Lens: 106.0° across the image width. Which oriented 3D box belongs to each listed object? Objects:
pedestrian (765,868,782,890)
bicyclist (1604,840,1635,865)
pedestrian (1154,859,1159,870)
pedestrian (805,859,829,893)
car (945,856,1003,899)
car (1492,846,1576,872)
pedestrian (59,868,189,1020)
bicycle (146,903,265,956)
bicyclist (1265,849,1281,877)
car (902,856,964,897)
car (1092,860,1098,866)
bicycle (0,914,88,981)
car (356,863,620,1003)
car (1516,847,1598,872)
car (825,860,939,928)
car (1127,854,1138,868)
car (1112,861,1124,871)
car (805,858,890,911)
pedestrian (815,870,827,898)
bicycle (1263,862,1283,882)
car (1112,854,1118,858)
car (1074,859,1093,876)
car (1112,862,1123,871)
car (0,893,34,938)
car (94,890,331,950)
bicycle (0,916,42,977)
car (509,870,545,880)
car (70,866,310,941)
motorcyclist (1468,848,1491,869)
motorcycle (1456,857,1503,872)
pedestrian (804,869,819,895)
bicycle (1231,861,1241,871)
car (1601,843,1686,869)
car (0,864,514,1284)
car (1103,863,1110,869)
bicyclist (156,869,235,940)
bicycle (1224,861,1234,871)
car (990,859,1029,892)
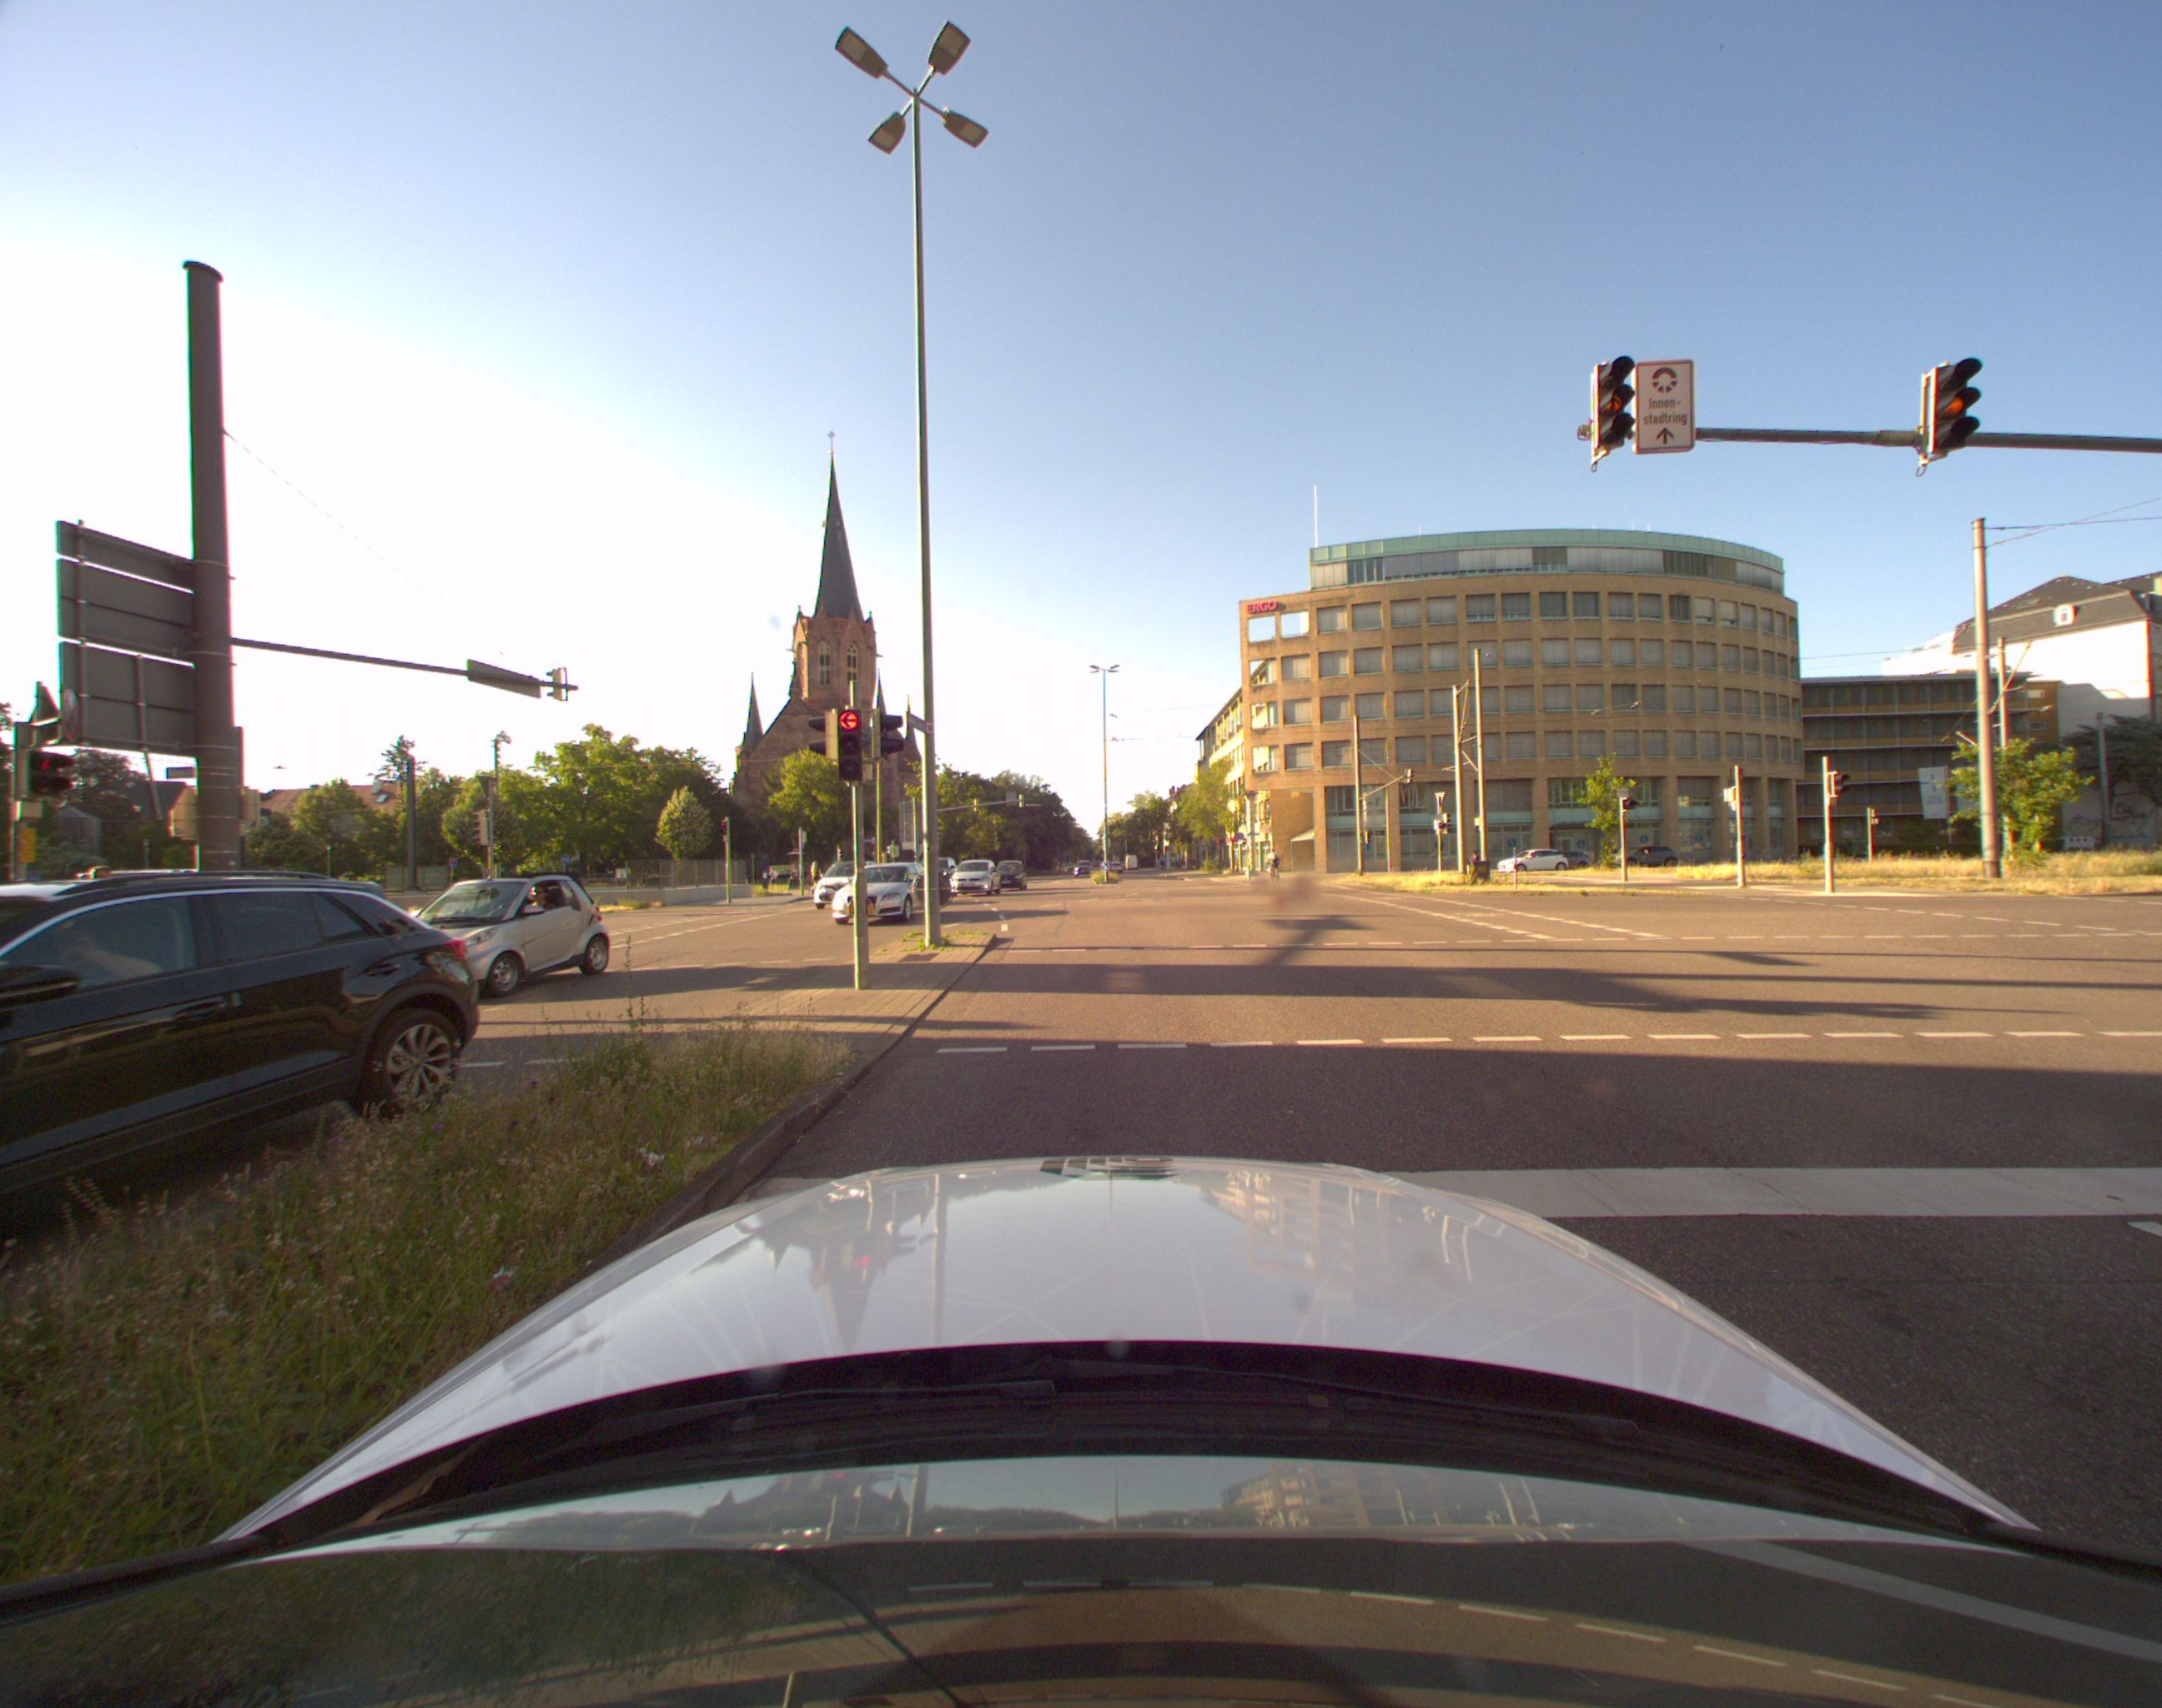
[{"bbox_3d":[-23.800,1.914,63.047,1.004,1.696,0.850,-1,-1,31],"label":"pedestrian"},{"bbox_3d":[35.250,-0.088,53.297,1.219,1.572,1.154,-2,-1,0],"label":"bicyclist"},{"bbox_3d":[12.114,1.650,130.696,0.844,1.803,0.776,-2,0,1],"label":"pedestrian"},{"bbox_3d":[-13.899,1.171,42.911,0.962,1.739,0.812,-1,-1,0],"label":"pedestrian"},{"bbox_3d":[-4.287,0.898,33.240,1.669,1.544,3.807,-3,0,2],"label":"car"},{"bbox_3d":[28.351,0.323,51.079,4.150,1.492,1.994,-2,-1,-1],"label":"car"},{"bbox_3d":[-11.892,1.078,10.144,0.605,1.787,0.813,1,0,5],"label":"pedestrian"},{"bbox_3d":[-20.802,1.783,19.385,1.770,1.097,0.952,-3,0,1],"label":"bicycle"},{"bbox_3d":[9.446,0.422,40.056,0.590,1.369,0.930,0,0,2],"label":"bicyclist"},{"bbox_3d":[-7.053,1.030,39.299,1.808,1.711,4.790,-3,0,3],"label":"car"},{"bbox_3d":[4.330,2.711,251.572,1.879,1.671,4.002,0,-1,2],"label":"car"},{"bbox_3d":[-18.734,1.640,13.885,0.732,1.051,2.300,-2,0,1],"label":"bicycle"},{"bbox_3d":[-8.033,0.979,11.347,1.530,1.593,2.808,-3,0,0],"label":"car"},{"bbox_3d":[32.757,0.377,56.105,4.464,1.537,1.987,-2,-1,2],"label":"car"},{"bbox_3d":[-4.924,0.922,20.726,1.702,1.425,4.104,-3,0,2],"label":"car"},{"bbox_3d":[9.127,1.241,144.564,1.986,2.440,4.002,0,-1,2],"label":"car"},{"bbox_3d":[5.004,1.686,110.631,1.588,1.267,3.268,-2,0,2],"label":"car"},{"bbox_3d":[-7.824,0.976,27.638,1.669,1.544,3.639,-3,0,1],"label":"car"},{"bbox_3d":[-16.206,1.846,50.776,0.710,1.696,0.890,0,-1,-17],"label":"pedestrian"},{"bbox_3d":[9.465,0.854,40.145,0.590,0.943,1.979,0,0,2],"label":"bicycle"},{"bbox_3d":[10.664,0.714,255.212,1.588,1.267,3.268,-2,0,2],"label":"car"},{"bbox_3d":[0.264,1.481,90.967,1.986,1.723,5.032,-2,0,1],"label":"car"},{"bbox_3d":[5.733,1.940,128.399,1.588,1.267,3.268,-2,0,2],"label":"car"},{"bbox_3d":[-35.079,1.960,24.812,3.889,1.374,1.800,-2,-1,-1],"label":"car"},{"bbox_3d":[-22.638,1.698,21.357,4.175,1.313,1.800,-2,-1,-1],"label":"car"},{"bbox_3d":[-19.540,1.661,13.863,0.732,1.051,2.300,-2,-1,1],"label":"bicycle"},{"bbox_3d":[-91.761,3.428,134.860,4.450,1.571,1.993,-2,-1,-10],"label":"car"},{"bbox_3d":[-26.673,1.446,24.527,4.908,2.014,1.999,-2,-1,-1],"label":"car"},{"bbox_3d":[27.468,0.312,56.134,1.061,1.435,1.032,-2,-1,1],"label":"motorcyclist"},{"bbox_3d":[27.465,0.749,56.125,2.708,0.964,1.032,-2,-1,0],"label":"motorcycle"},{"bbox_3d":[-17.707,1.825,53.504,0.846,1.696,1.008,0,-1,-27],"label":"pedestrian"},{"bbox_3d":[15.214,1.164,79.973,0.644,0.994,2.081,-2,-1,1],"label":"bicycle"},{"bbox_3d":[35.230,0.133,51.069,4.038,1.492,1.820,-2,-1,0],"label":"car"},{"bbox_3d":[-4.932,0.890,3.751,1.670,1.544,4.102,-3,0,0],"label":"car"},{"bbox_3d":[5.887,2.878,189.080,1.588,1.267,3.268,-2,0,2],"label":"car"},{"bbox_3d":[-21.053,1.179,19.385,0.733,1.598,0.963,-3,0,1],"label":"bicyclist"},{"bbox_3d":[15.320,1.203,84.528,0.644,0.994,2.081,-2,-1,1],"label":"bicycle"},{"bbox_3d":[-3.691,1.093,42.382,1.572,1.544,3.478,-3,0,1],"label":"car"}]
